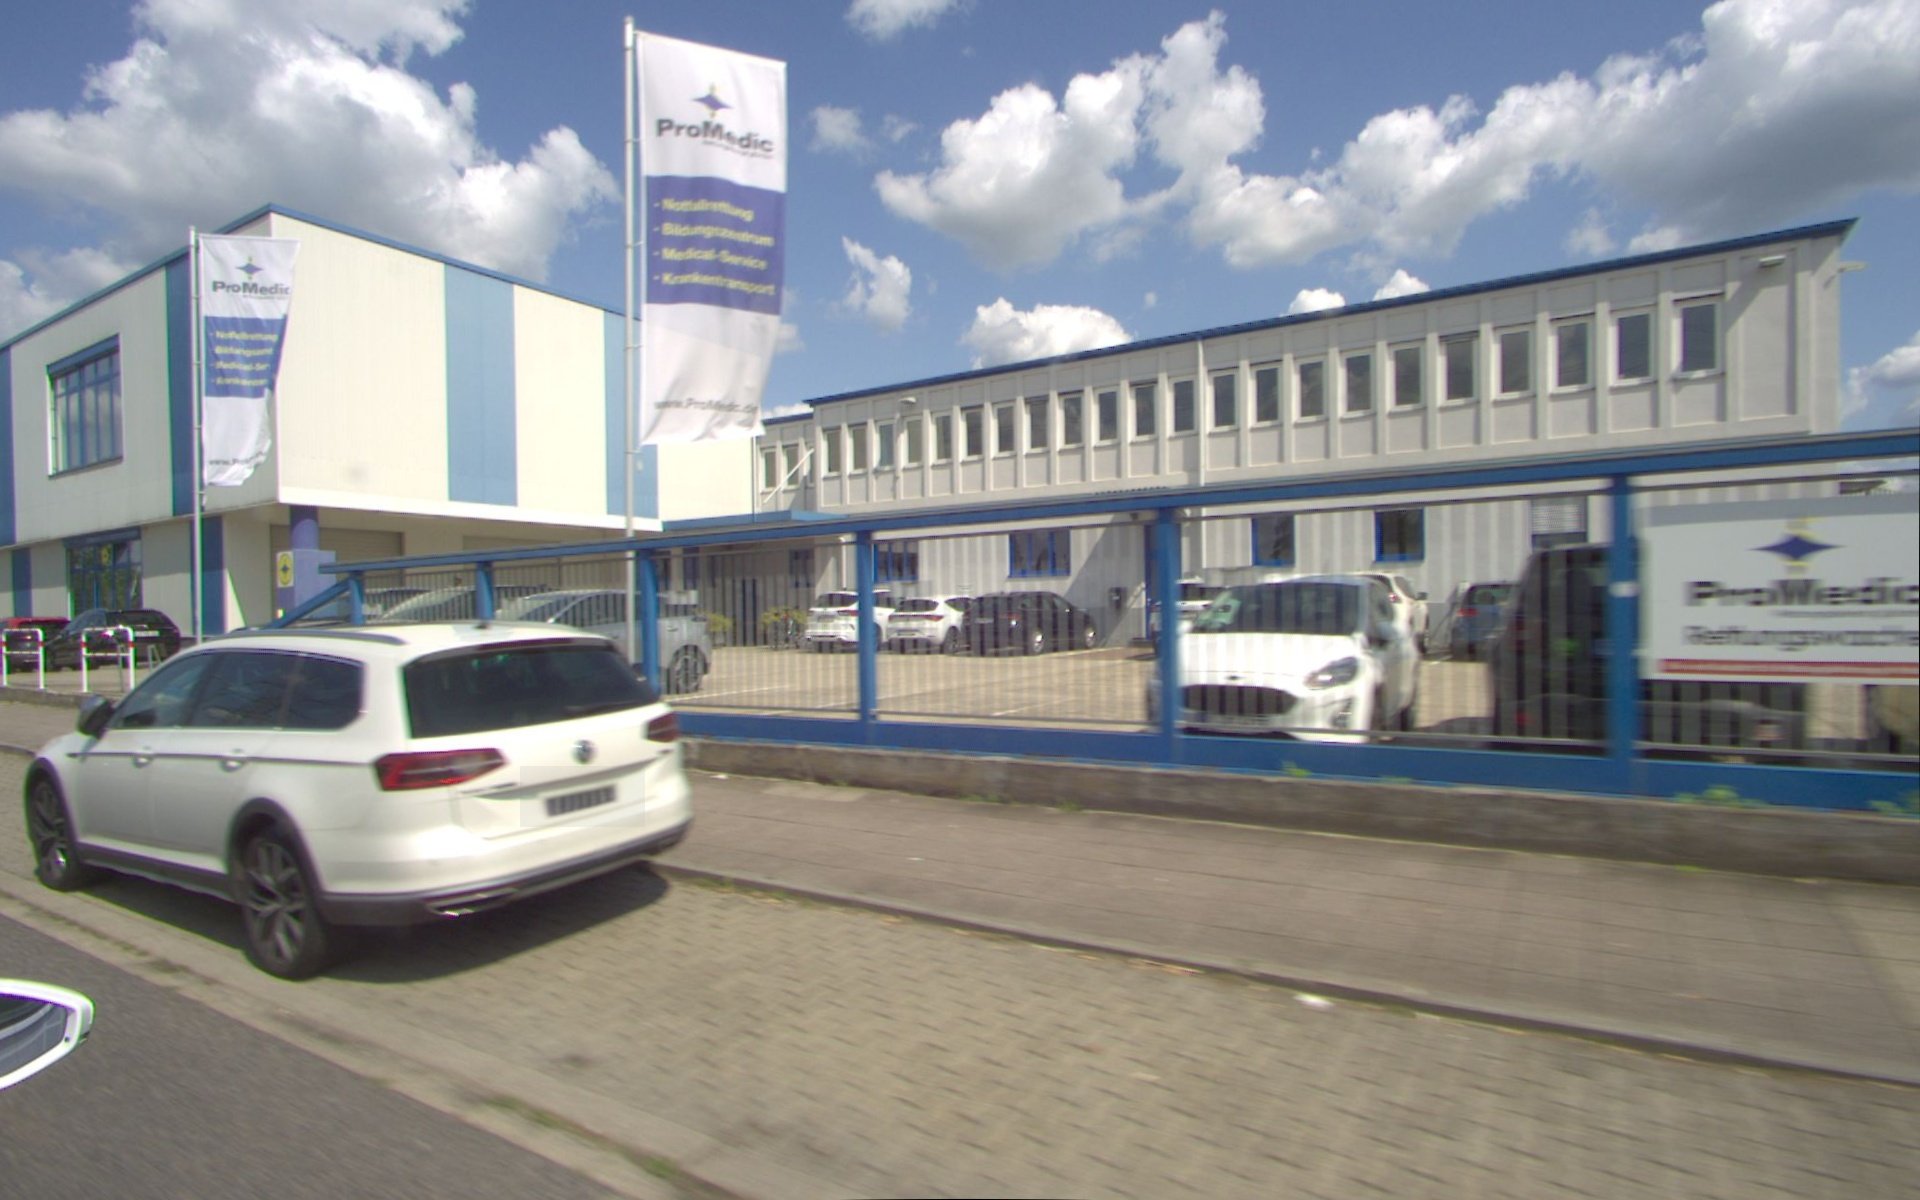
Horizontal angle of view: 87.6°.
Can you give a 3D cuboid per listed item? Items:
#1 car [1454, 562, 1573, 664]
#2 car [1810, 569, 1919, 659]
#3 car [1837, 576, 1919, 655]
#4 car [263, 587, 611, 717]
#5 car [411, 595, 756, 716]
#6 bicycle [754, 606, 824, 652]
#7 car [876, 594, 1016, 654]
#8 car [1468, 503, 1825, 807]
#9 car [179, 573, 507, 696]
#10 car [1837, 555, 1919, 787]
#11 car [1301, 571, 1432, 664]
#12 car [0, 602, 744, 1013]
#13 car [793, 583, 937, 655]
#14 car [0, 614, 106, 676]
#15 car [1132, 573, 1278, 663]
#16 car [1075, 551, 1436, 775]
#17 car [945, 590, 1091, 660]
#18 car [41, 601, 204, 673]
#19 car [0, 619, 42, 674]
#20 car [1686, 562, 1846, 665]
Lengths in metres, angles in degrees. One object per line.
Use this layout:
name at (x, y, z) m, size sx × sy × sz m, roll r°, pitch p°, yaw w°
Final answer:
car at (10.514, 0.241, 18.908) m, size 1.780 × 1.713 × 3.979 m, roll -1°, pitch 0°, yaw 31°
car at (19.701, 0.311, 20.605) m, size 3.116 × 1.790 × 1.413 m, roll -1°, pitch -3°, yaw 30°
car at (18.235, 0.290, 18.278) m, size 3.118 × 1.420 × 1.412 m, roll -2°, pitch -4°, yaw 32°
car at (-7.724, 0.708, 15.205) m, size 2.116 × 1.668 × 4.219 m, roll -1°, pitch -1°, yaw 31°
car at (-5.145, 0.667, 14.260) m, size 1.972 × 1.439 × 4.270 m, roll -1°, pitch 0°, yaw 32°
bicycle at (-4.785, 0.799, 28.176) m, size 0.632 × 1.228 × 2.220 m, roll -1°, pitch 0°, yaw 31°
car at (-0.279, 0.590, 25.887) m, size 1.780 × 1.418 × 3.980 m, roll -1°, pitch -1°, yaw 31°
car at (5.074, 0.363, 7.706) m, size 1.766 × 1.702 × 3.800 m, roll -1°, pitch -2°, yaw 32°
car at (-9.776, 0.515, 16.203) m, size 1.971 × 1.708 × 4.078 m, roll -1°, pitch -1°, yaw 31°
car at (7.277, 0.421, 6.532) m, size 1.766 × 1.510 × 3.396 m, roll -1°, pitch 1°, yaw 32°
car at (8.177, 0.323, 19.947) m, size 1.780 × 1.651 × 3.980 m, roll -1°, pitch 0°, yaw 31°
car at (-3.563, 0.853, 5.760) m, size 4.532 × 1.540 × 1.864 m, roll -2°, pitch -2°, yaw 32°
car at (-2.462, 0.494, 26.846) m, size 1.780 × 1.763 × 4.050 m, roll -1°, pitch 0°, yaw 31°
car at (-26.893, 1.319, 29.125) m, size 4.230 × 1.678 × 1.989 m, roll -3°, pitch -1°, yaw 33°
car at (5.333, 0.372, 21.449) m, size 1.907 × 1.724 × 3.979 m, roll -1°, pitch 0°, yaw 31°
car at (2.755, 0.409, 8.639) m, size 1.972 × 1.439 × 3.978 m, roll -1°, pitch 0°, yaw 32°
car at (1.485, 0.563, 24.116) m, size 1.906 × 1.528 × 3.980 m, roll -1°, pitch 0°, yaw 31°
car at (-20.961, 0.937, 25.026) m, size 4.578 × 1.531 × 1.823 m, roll -4°, pitch -2°, yaw 33°
car at (-31.254, 1.522, 32.078) m, size 4.156 × 1.673 × 1.711 m, roll -2°, pitch -1°, yaw 33°
car at (13.292, 0.179, 16.723) m, size 1.840 × 1.506 × 3.870 m, roll -2°, pitch 0°, yaw 36°
